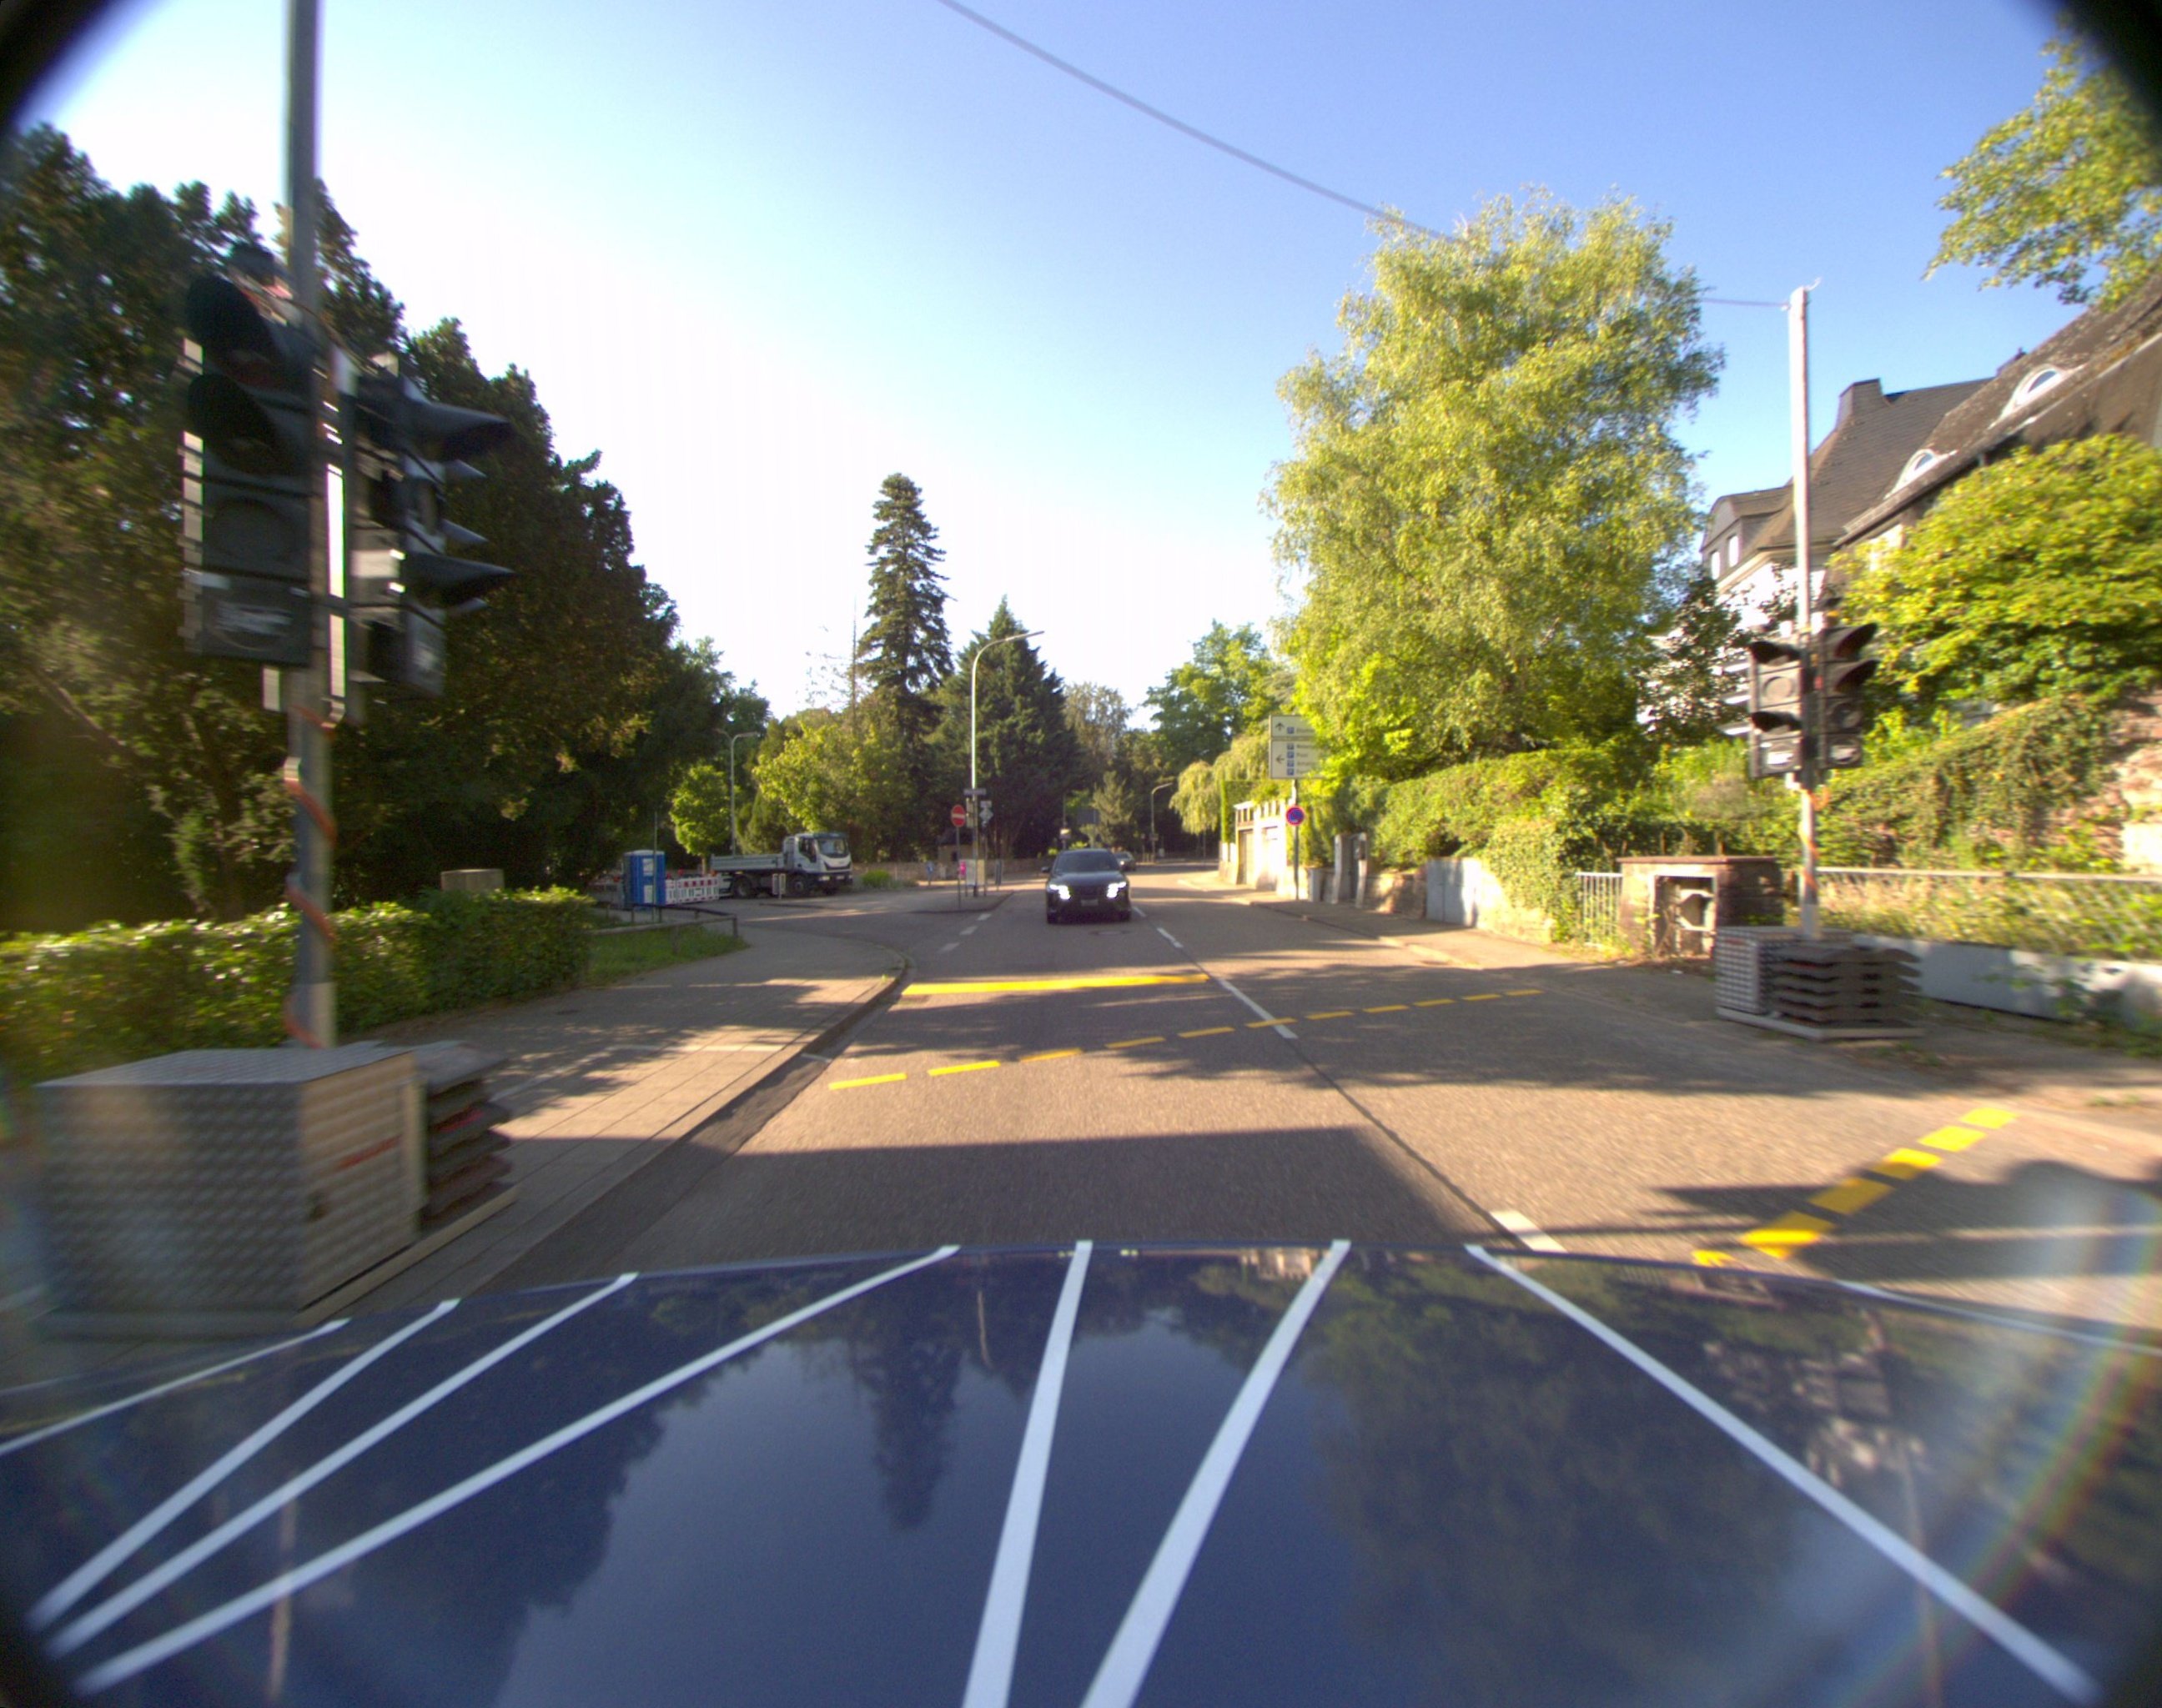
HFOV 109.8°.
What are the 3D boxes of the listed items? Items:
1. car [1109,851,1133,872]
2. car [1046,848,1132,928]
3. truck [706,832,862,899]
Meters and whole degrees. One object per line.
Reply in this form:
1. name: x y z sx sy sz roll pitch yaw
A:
1. car: 2.927 0.523 55.508 1.662 1.468 3.683 -2 1 4
2. car: 0.091 0.721 18.207 1.788 1.639 4.473 -1 0 -2
3. truck: -13.470 0.524 34.458 6.497 2.736 2.374 -3 1 20
